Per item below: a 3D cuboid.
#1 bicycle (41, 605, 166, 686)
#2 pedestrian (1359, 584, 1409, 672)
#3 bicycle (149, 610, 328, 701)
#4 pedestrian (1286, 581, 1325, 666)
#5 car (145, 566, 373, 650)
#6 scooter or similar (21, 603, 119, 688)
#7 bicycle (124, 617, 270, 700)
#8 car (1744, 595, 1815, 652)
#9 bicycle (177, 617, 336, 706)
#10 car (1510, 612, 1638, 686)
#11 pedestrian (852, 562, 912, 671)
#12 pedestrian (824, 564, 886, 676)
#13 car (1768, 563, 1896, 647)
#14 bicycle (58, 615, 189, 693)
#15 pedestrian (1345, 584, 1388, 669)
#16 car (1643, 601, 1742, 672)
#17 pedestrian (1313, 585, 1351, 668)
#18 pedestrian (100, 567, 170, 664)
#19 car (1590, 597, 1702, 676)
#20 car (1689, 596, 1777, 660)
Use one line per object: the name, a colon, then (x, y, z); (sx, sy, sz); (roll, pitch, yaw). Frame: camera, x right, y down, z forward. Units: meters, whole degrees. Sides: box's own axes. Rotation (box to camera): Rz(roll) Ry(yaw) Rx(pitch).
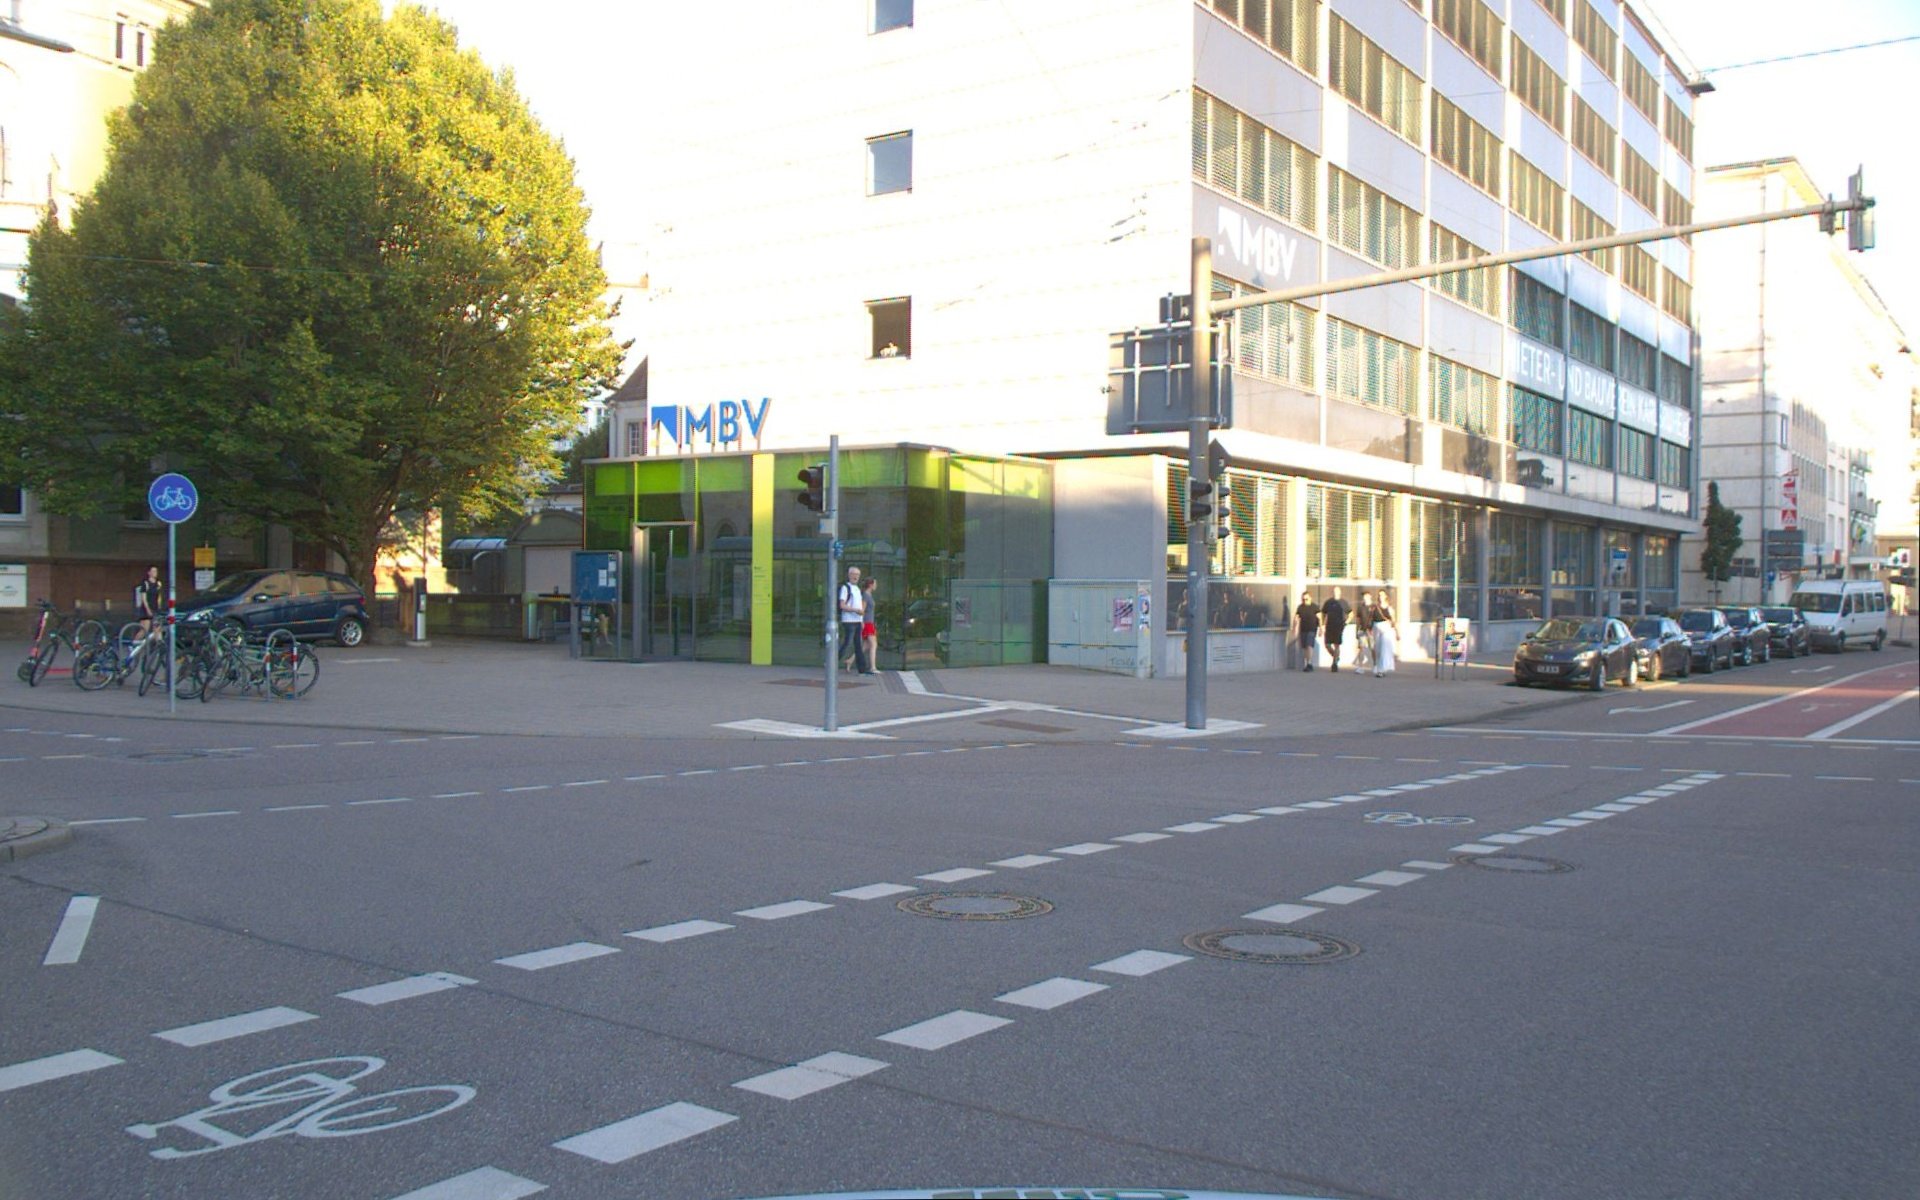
bicycle: (-12.941, 0.668, 25.017); (0.729, 1.183, 1.525); (0, 0, 36)
pedestrian: (8.888, 0.576, 34.698); (0.825, 1.799, 0.784); (0, 0, 31)
bicycle: (-10.023, 0.743, 23.049); (0.729, 1.152, 2.229); (0, 1, 36)
pedestrian: (7.448, 0.497, 35.673); (0.641, 1.799, 0.645); (0, 0, 31)
car: (-14.289, 0.138, 33.907); (1.767, 1.601, 3.984); (2, 1, 34)
scooter or similar: (-13.863, 0.686, 25.784); (0.579, 1.246, 1.200); (0, 2, 35)
bicycle: (-10.786, 0.806, 23.422); (0.729, 1.093, 1.754); (0, 0, 36)
car: (26.577, 0.725, 53.573); (1.473, 1.693, 3.856); (5, 3, 34)
bicycle: (-9.410, 0.798, 22.159); (1.847, 1.093, 0.734); (-1, 1, -38)
car: (12.988, 0.998, 34.896); (1.663, 1.436, 3.855); (-1, 0, 34)
pedestrian: (-1.303, 0.266, 27.647); (0.732, 1.799, 0.706); (0, 0, 35)
pedestrian: (-1.718, 0.318, 27.061); (0.720, 1.799, 0.706); (0, 0, 35)
car: (30.866, 0.197, 58.443); (5.810, 2.673, 2.209); (1, 4, -45)
bicycle: (-12.267, 0.771, 24.282); (0.729, 1.093, 1.550); (0, 0, 36)
pedestrian: (8.792, 0.560, 35.756); (0.725, 1.799, 0.671); (0, 0, 31)
car: (19.624, 0.933, 44.216); (1.664, 1.693, 3.855); (5, 3, 34)
pedestrian: (8.127, 0.565, 36.097); (0.641, 1.799, 0.645); (0, 0, 31)
pedestrian: (-15.530, 0.289, 31.138); (0.966, 1.799, 0.709); (0, 0, 20)
car: (16.549, 0.824, 39.804); (1.664, 1.693, 3.855); (5, 3, 34)
car: (22.821, 0.794, 48.751); (1.664, 1.693, 3.855); (5, 3, 34)
